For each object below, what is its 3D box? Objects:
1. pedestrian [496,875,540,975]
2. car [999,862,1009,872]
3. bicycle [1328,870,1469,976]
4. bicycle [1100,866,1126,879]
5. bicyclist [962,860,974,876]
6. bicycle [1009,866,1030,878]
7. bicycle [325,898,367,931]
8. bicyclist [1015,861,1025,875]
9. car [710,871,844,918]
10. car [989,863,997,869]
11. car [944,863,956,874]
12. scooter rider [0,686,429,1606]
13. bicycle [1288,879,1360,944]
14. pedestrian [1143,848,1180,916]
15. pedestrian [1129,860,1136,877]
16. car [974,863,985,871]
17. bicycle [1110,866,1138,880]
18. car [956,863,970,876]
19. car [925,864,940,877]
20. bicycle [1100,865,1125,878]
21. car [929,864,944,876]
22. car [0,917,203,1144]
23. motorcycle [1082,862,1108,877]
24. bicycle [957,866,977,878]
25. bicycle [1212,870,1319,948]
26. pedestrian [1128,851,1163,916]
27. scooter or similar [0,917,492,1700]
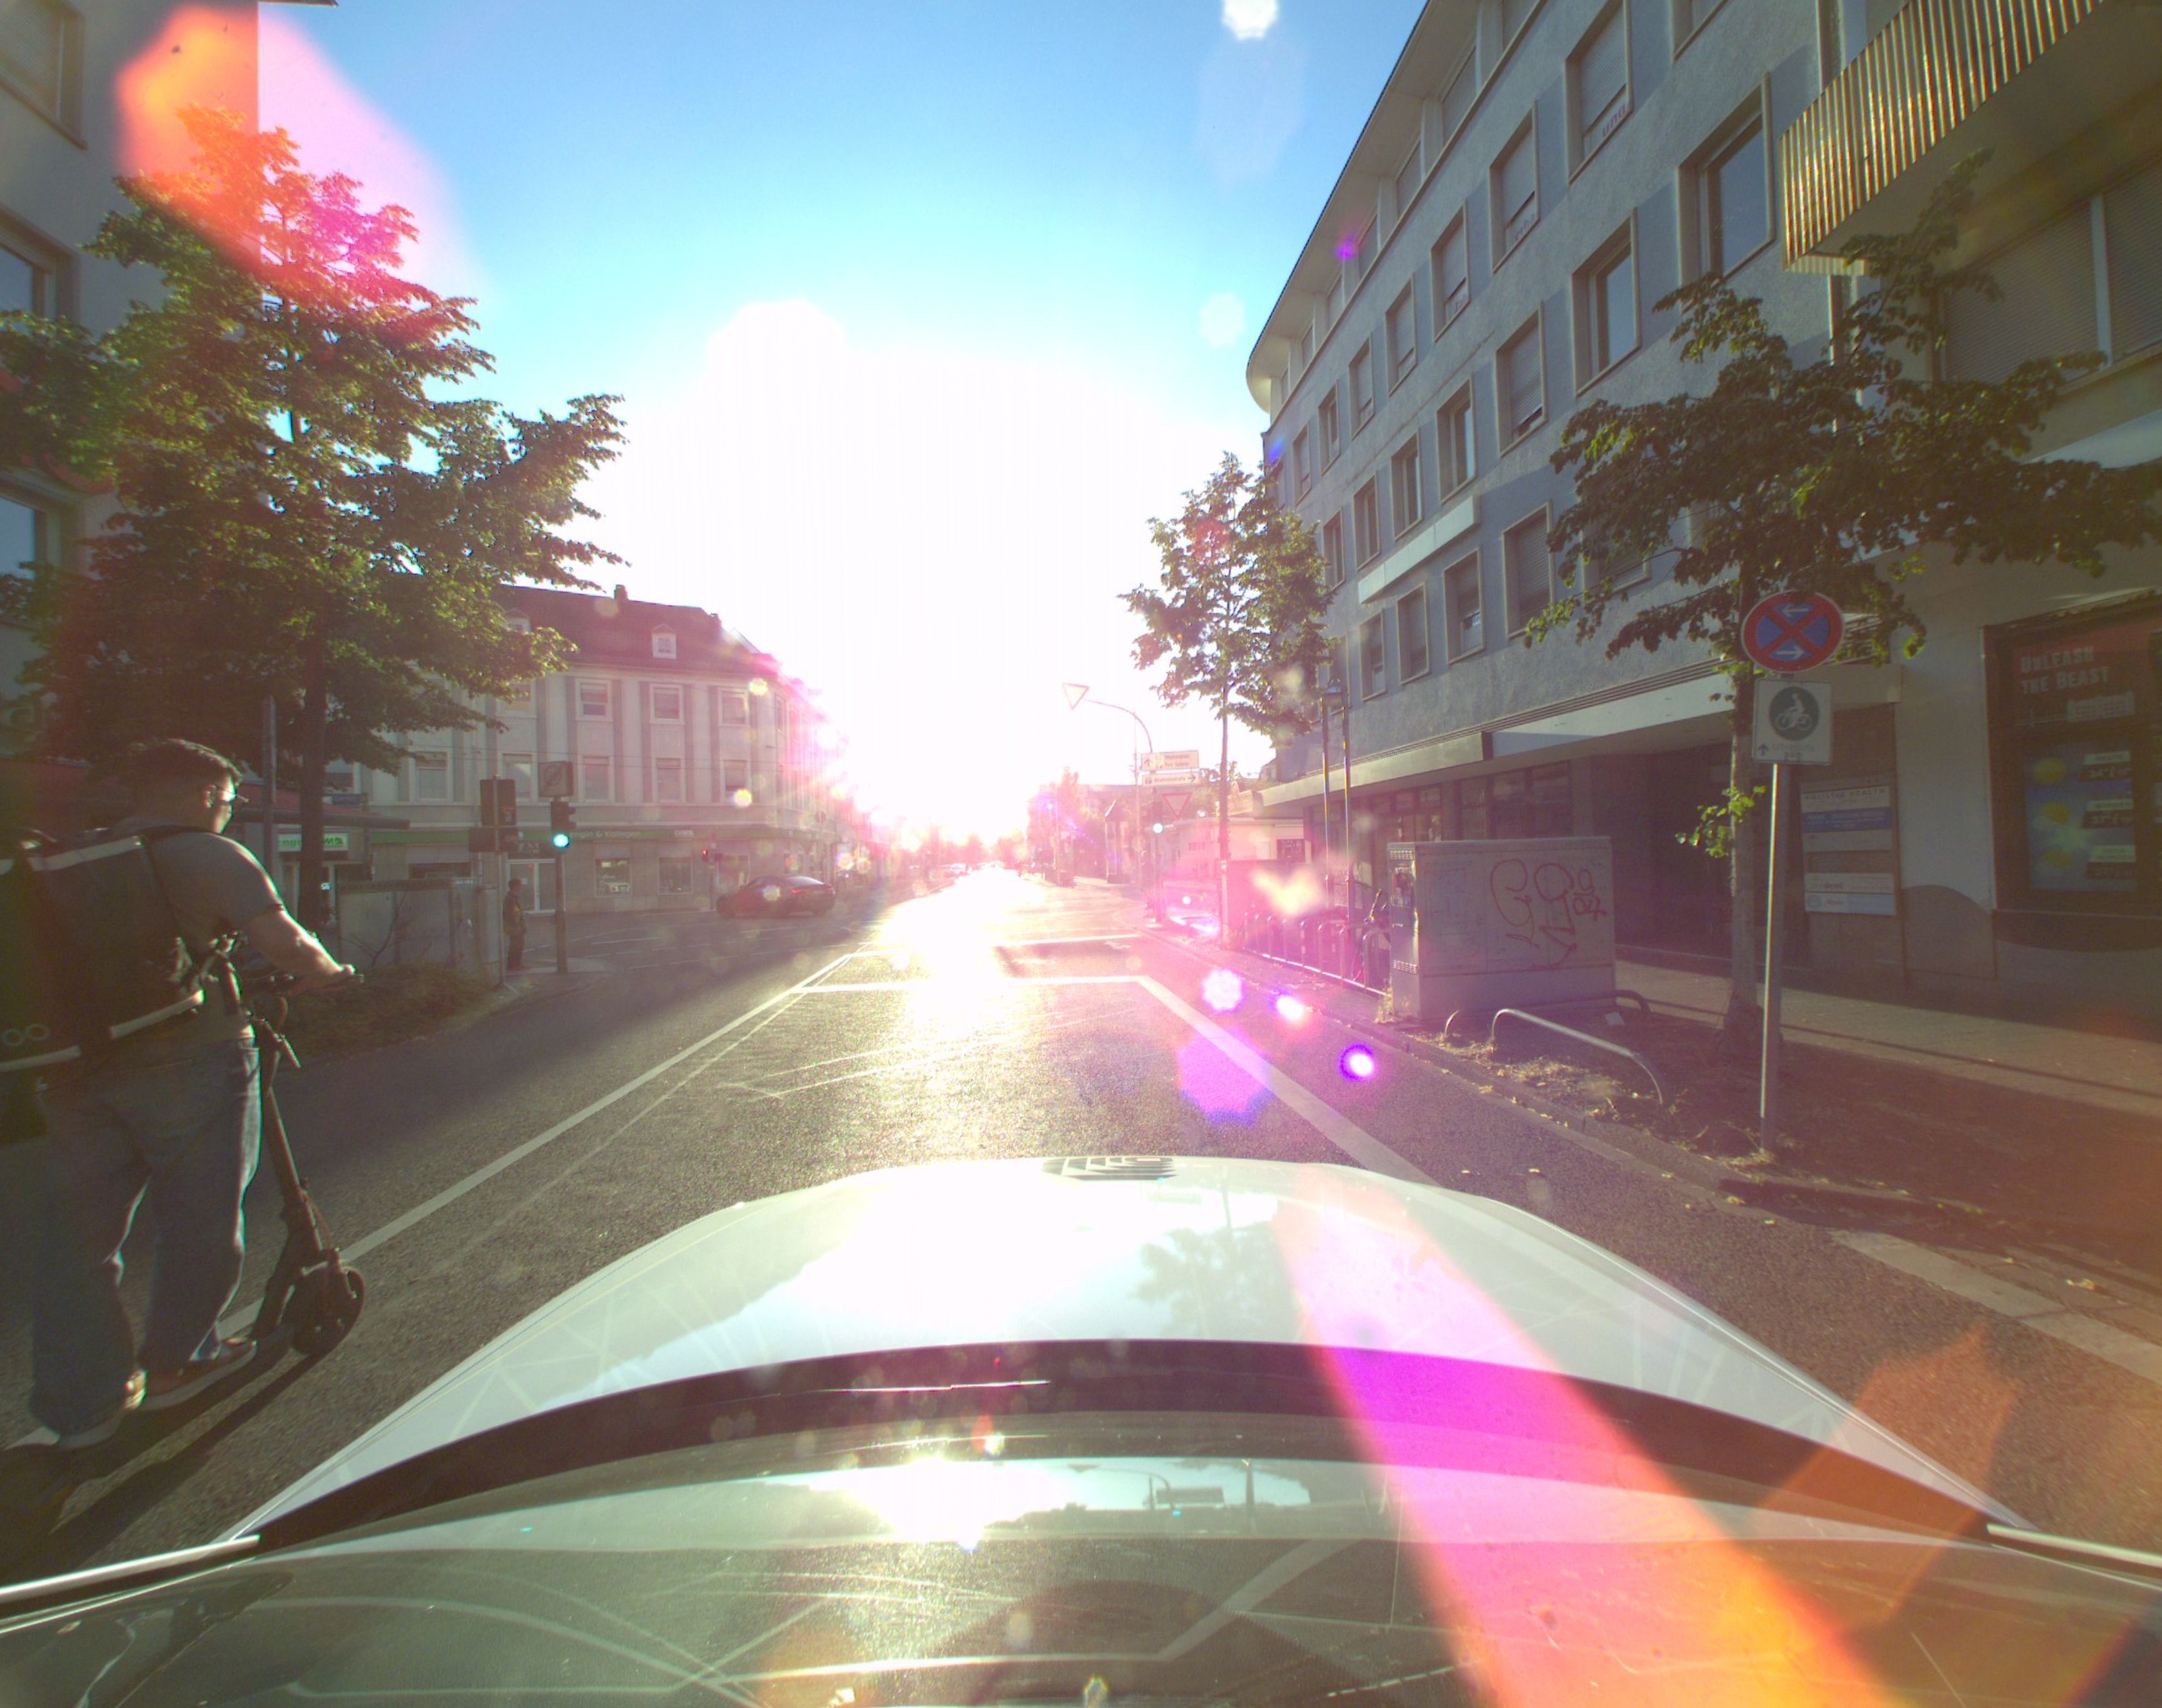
[{"bbox_3d":[-9.796,1.214,14.189,0.589,1.656,0.791,-1,-1,-33],"label":"pedestrian"},{"bbox_3d":[-16.674,2.815,175.966,1.991,2.014,3.991,0,-1,-6],"label":"car"},{"bbox_3d":[3.903,0.813,10.000,1.662,1.194,0.491,-1,0,-19],"label":"bicycle"},{"bbox_3d":[2.575,1.500,66.133,2.070,0.982,0.560,-2,-2,1],"label":"bicycle"},{"bbox_3d":[-12.323,1.508,88.718,1.121,1.791,0.768,-1,-2,15],"label":"bicyclist"},{"bbox_3d":[-6.358,1.861,84.436,2.107,1.204,0.501,0,-2,6],"label":"bicycle"},{"bbox_3d":[-26.173,2.136,29.022,0.499,1.059,1.730,-1,0,-21],"label":"bicycle"},{"bbox_3d":[-6.361,1.485,84.467,0.894,1.482,0.736,0,-2,7],"label":"bicyclist"},{"bbox_3d":[-10.452,1.400,27.889,4.484,1.480,1.908,-3,-3,31],"label":"car"},{"bbox_3d":[-26.151,3.555,241.873,1.990,1.816,3.993,0,-1,-4],"label":"car"},{"bbox_3d":[-18.854,2.091,117.034,1.481,1.559,3.251,-1,-1,-7],"label":"car"},{"bbox_3d":[-2.343,0.575,2.000,0.809,1.807,0.787,0,-2,-2],"label":"scooter rider"},{"bbox_3d":[4.192,0.965,14.154,0.403,1.010,1.663,-3,0,-11],"label":"bicycle"},{"bbox_3d":[2.184,0.748,22.069,0.641,1.773,0.743,-2,-1,-27],"label":"pedestrian"},{"bbox_3d":[5.019,1.376,79.889,0.678,1.657,0.696,0,-2,2],"label":"pedestrian"},{"bbox_3d":[-21.872,2.856,175.067,1.990,1.684,3.994,-2,0,-4],"label":"car"},{"bbox_3d":[3.212,1.412,60.487,2.012,1.044,0.560,-2,-2,1],"label":"bicycle"},{"bbox_3d":[-13.839,1.864,95.708,1.543,1.468,3.344,-1,-1,-7],"label":"car"},{"bbox_3d":[-17.482,1.930,95.980,1.543,1.484,3.344,-2,0,-7],"label":"car"},{"bbox_3d":[2.610,1.469,67.721,2.030,0.977,0.560,-2,-2,1],"label":"bicycle"},{"bbox_3d":[-17.675,1.963,99.618,1.543,1.469,3.344,-1,-1,-7],"label":"car"},{"bbox_3d":[-7.587,1.182,4.225,1.647,1.353,4.302,-2,0,-6],"label":"car"},{"bbox_3d":[1.189,1.338,69.265,2.228,1.201,0.720,-2,0,-1],"label":"motorcycle"},{"bbox_3d":[-12.377,1.958,88.707,2.102,1.204,0.502,-1,-2,15],"label":"bicycle"},{"bbox_3d":[3.057,0.893,13.503,1.658,1.194,0.475,-1,0,-12],"label":"bicycle"},{"bbox_3d":[1.810,0.816,22.935,0.589,1.773,0.741,-1,-1,-37],"label":"pedestrian"},{"bbox_3d":[-2.297,0.895,1.978,0.543,1.350,1.668,-1,0,-2],"label":"scooter or similar"}]
